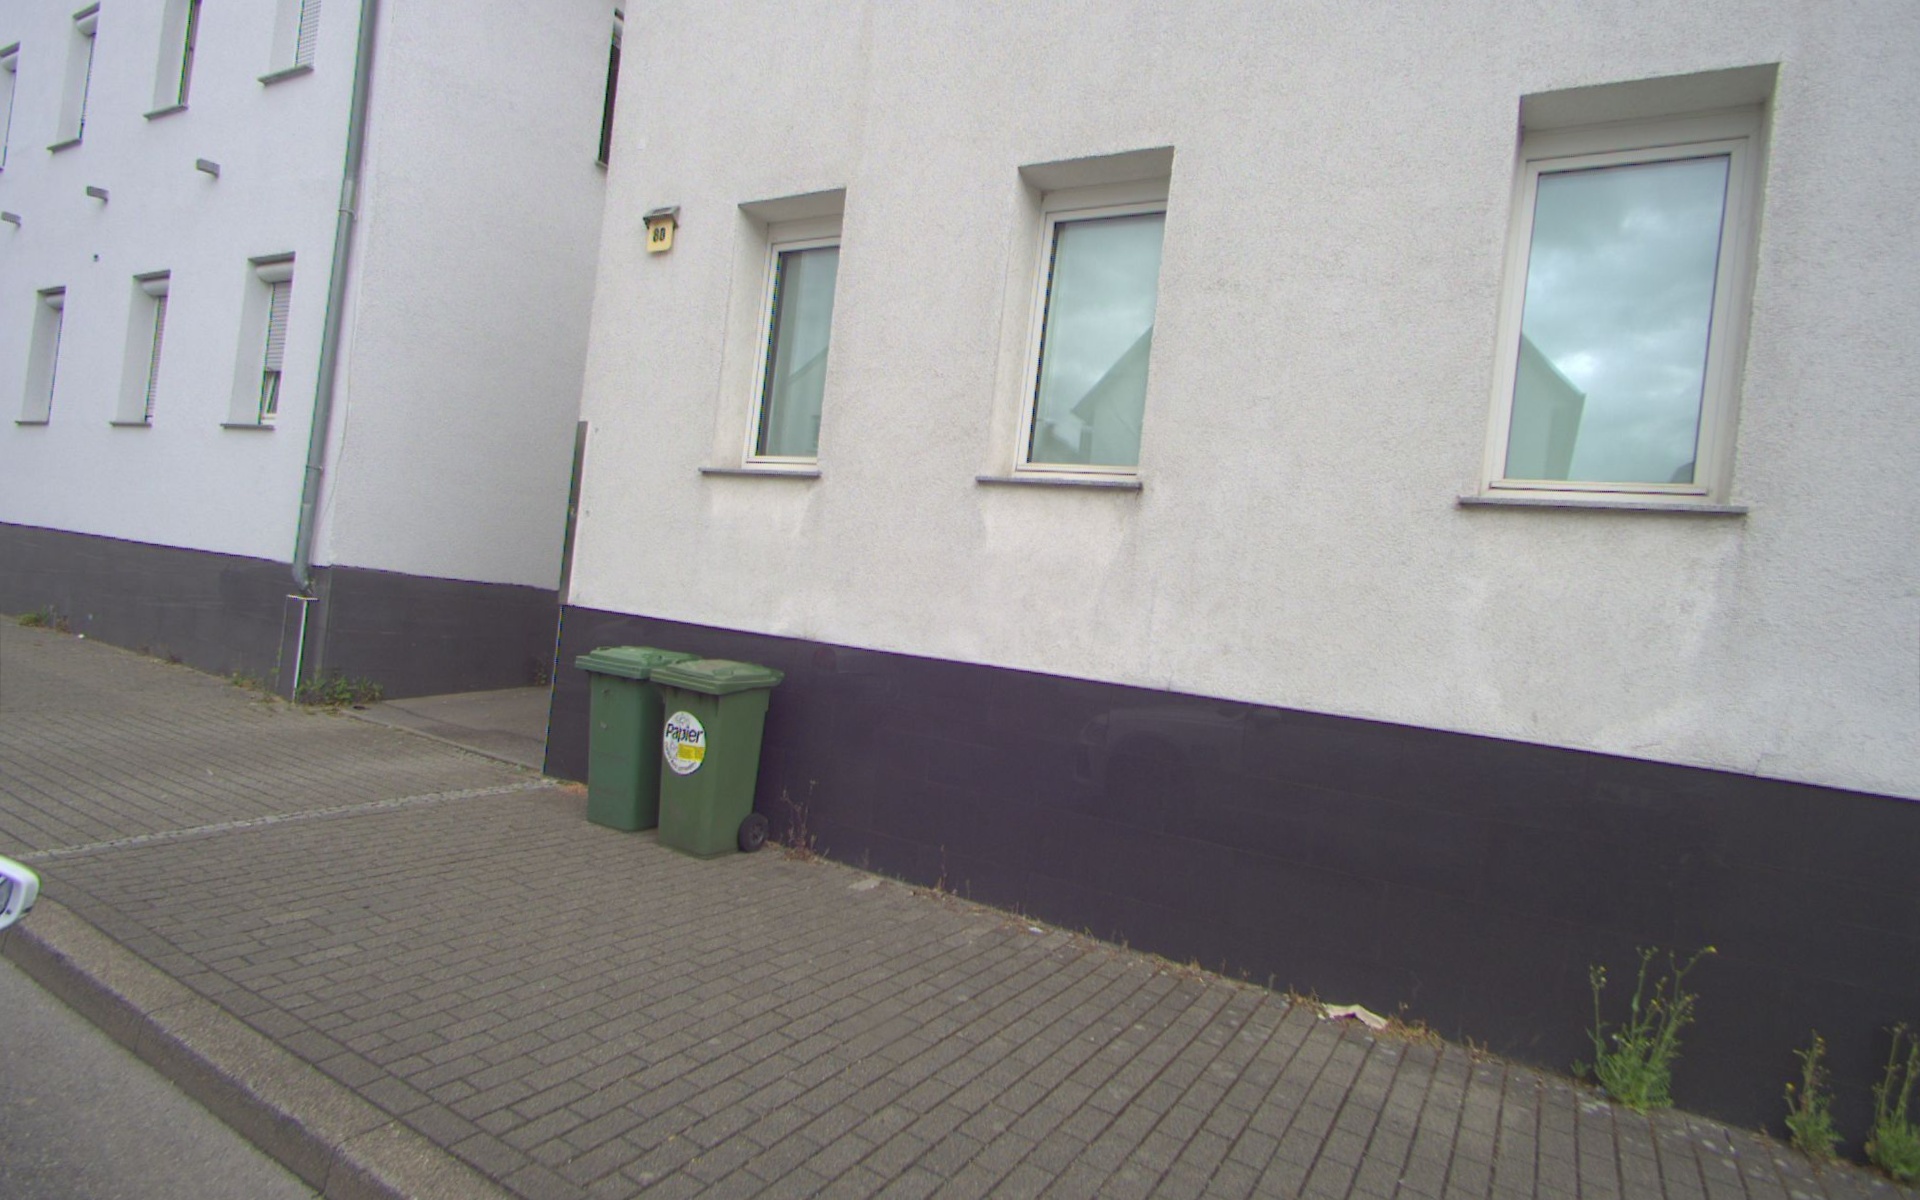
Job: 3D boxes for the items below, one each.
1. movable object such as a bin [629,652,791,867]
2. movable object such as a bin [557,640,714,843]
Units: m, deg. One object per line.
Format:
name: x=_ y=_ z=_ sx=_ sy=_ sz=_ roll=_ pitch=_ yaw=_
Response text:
movable object such as a bin: x=-1.249 y=0.766 z=5.048 sx=0.479 sy=0.953 sz=0.540 roll=7 pitch=2 yaw=32
movable object such as a bin: x=-1.707 y=0.713 z=5.306 sx=0.479 sy=0.953 sz=0.540 roll=7 pitch=2 yaw=32
